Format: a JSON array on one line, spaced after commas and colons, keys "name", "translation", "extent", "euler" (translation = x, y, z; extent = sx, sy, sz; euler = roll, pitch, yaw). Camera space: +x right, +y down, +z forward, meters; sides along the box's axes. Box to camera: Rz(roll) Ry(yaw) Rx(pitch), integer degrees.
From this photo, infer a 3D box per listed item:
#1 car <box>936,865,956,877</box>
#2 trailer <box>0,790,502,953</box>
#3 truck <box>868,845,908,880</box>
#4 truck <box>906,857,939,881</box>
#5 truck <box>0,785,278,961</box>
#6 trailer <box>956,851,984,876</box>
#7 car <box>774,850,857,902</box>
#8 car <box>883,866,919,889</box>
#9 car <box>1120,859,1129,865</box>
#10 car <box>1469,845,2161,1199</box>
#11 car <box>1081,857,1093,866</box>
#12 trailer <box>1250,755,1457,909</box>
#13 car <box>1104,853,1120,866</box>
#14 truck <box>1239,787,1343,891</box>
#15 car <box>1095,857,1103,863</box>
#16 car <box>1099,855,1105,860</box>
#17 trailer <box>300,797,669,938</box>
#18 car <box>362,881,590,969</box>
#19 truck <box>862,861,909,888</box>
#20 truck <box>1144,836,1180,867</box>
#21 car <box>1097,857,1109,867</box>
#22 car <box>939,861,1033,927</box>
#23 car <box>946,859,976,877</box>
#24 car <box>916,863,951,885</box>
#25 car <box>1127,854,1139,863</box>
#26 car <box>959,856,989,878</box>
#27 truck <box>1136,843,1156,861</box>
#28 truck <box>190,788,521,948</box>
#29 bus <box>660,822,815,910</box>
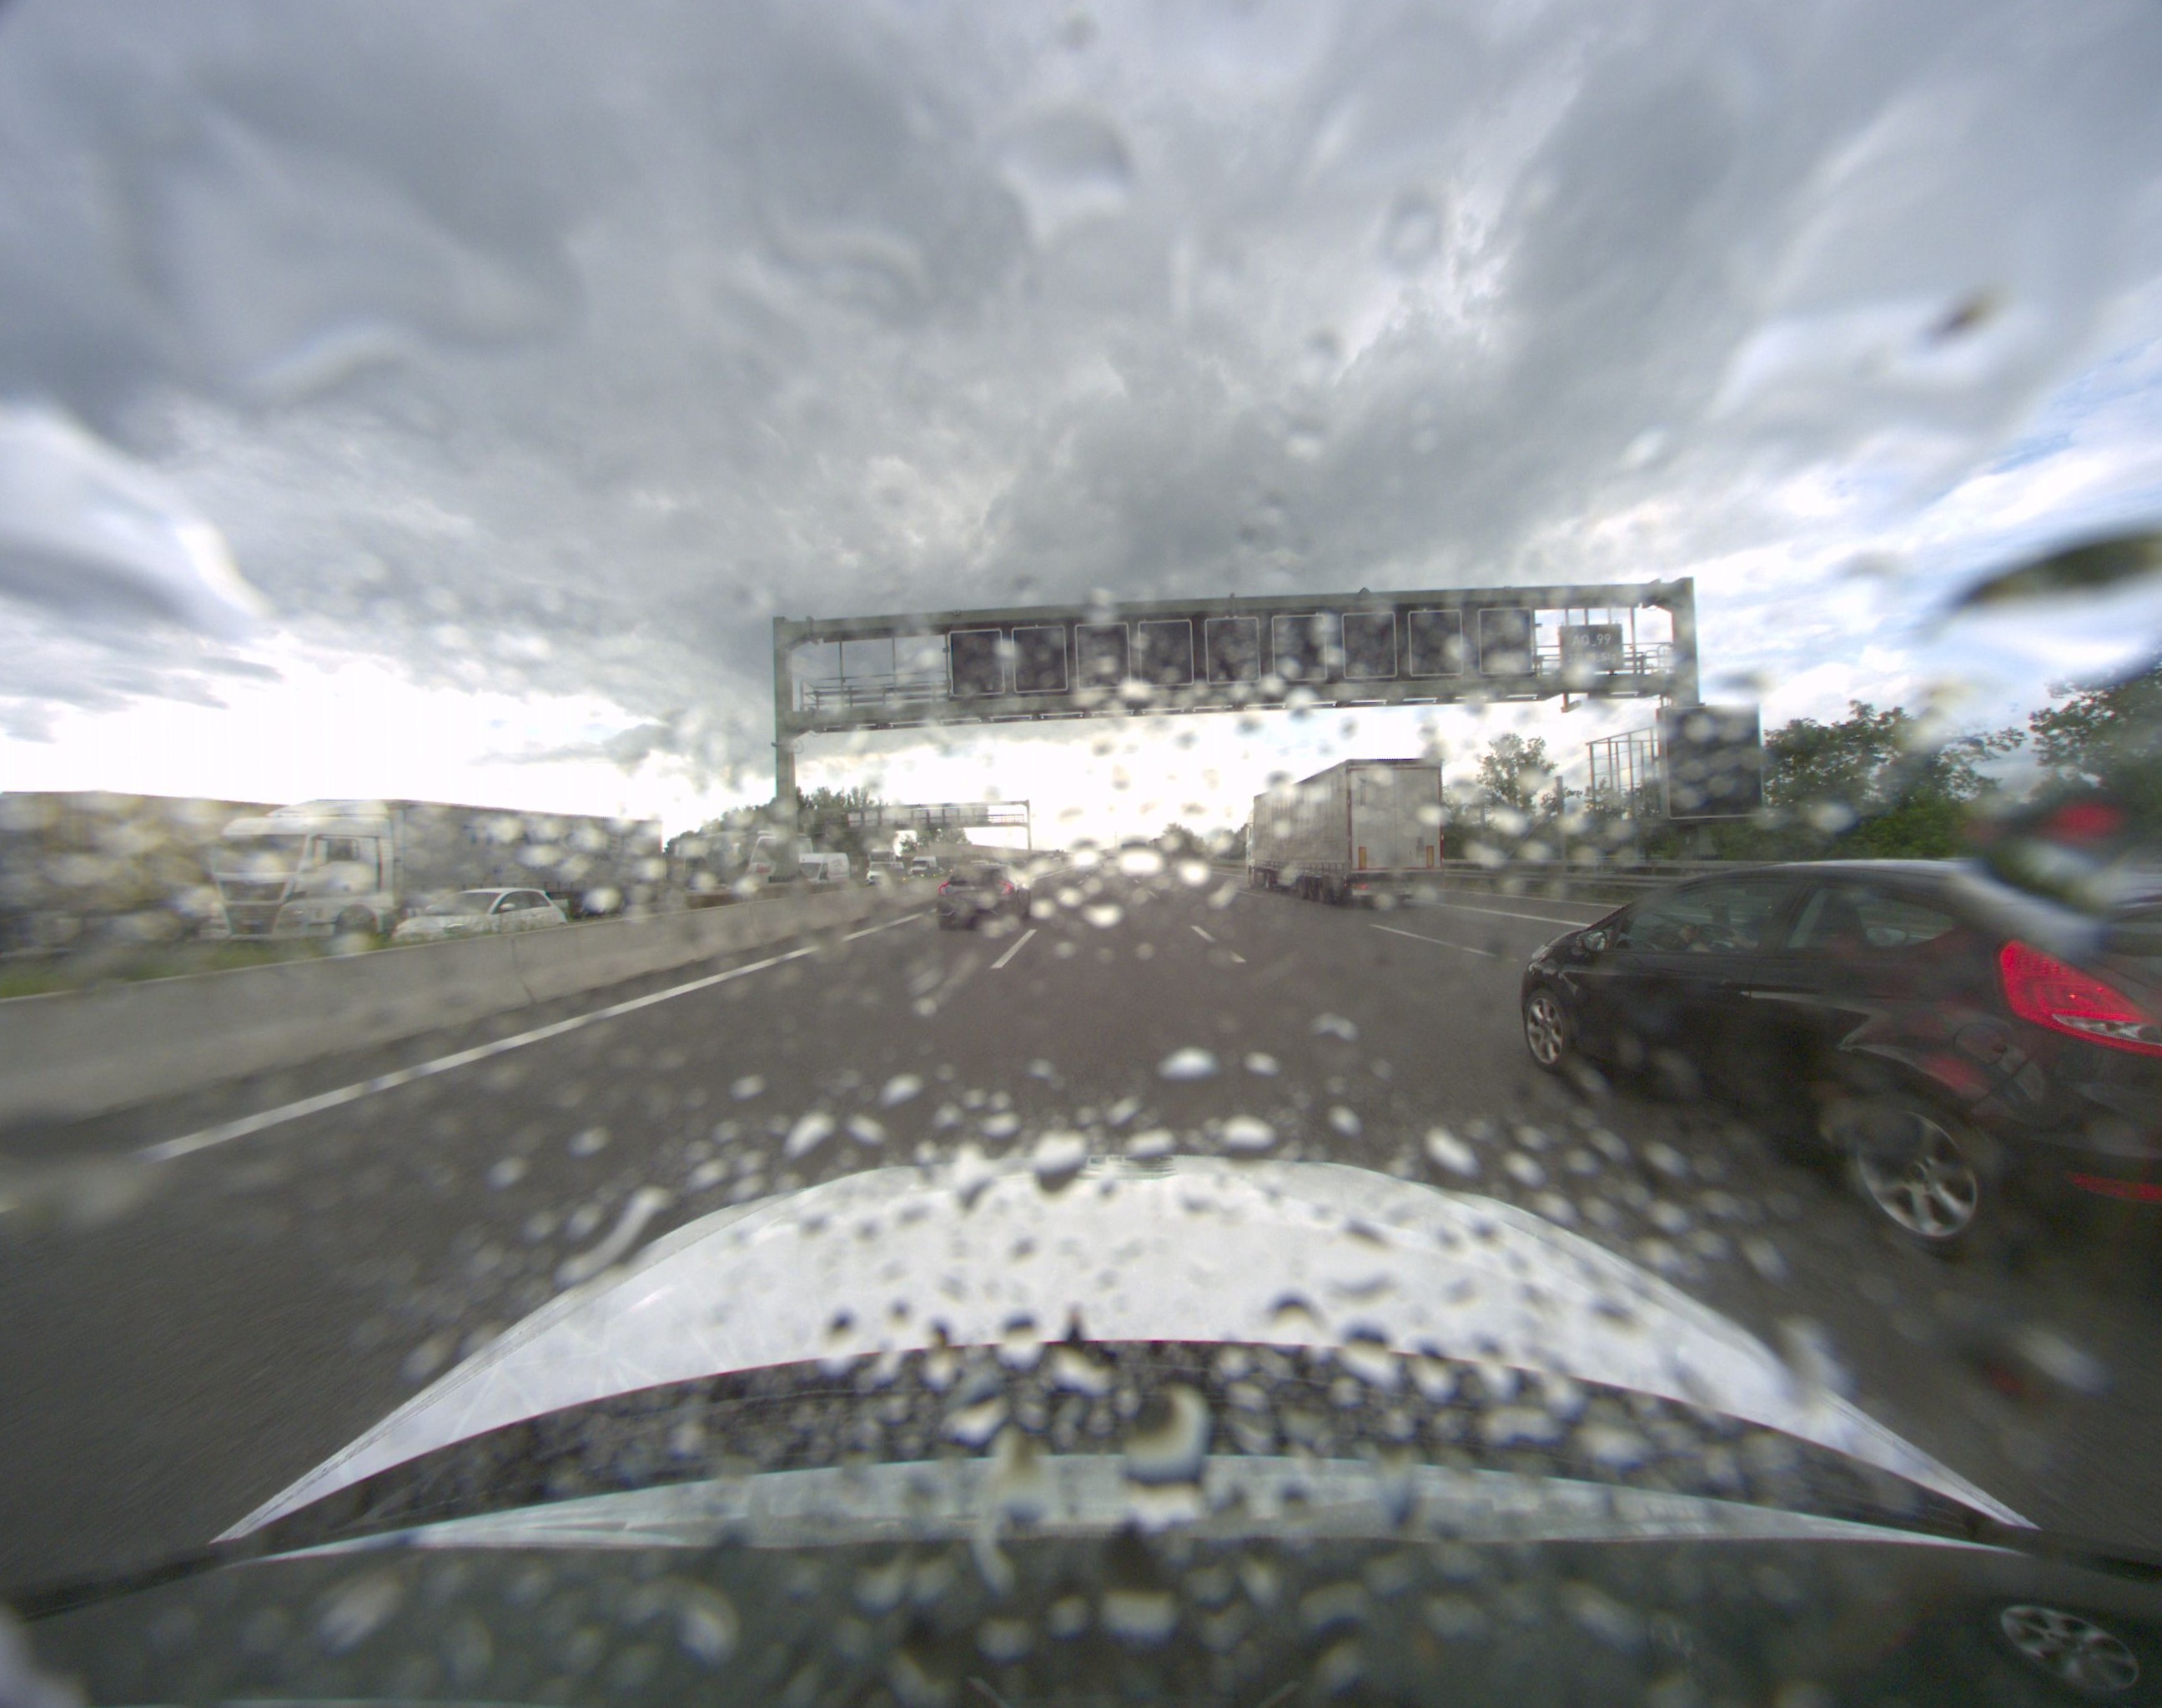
[{"name": "car", "translation": [-18.170, 2.283, 109.845], "extent": [1.809, 1.495, 3.902], "euler": [-2, -1, 2]}, {"name": "trailer", "translation": [-25.242, 0.487, 26.483], "extent": [3.017, 3.933, 12.981], "euler": [-2, -1, 2]}, {"name": "truck", "translation": [-22.216, 0.965, 94.073], "extent": [2.742, 3.887, 6.054], "euler": [-2, 0, 2]}, {"name": "truck", "translation": [-18.425, 1.689, 94.841], "extent": [2.235, 2.604, 6.562], "euler": [-2, -1, 2]}, {"name": "truck", "translation": [-25.510, 0.485, 20.334], "extent": [3.017, 3.933, 7.714], "euler": [-2, -1, 2]}, {"name": "trailer", "translation": [-14.588, 1.184, 107.368], "extent": [2.440, 3.138, 6.054], "euler": [-2, 0, 2]}, {"name": "car", "translation": [-12.854, 1.014, 39.826], "extent": [2.129, 2.351, 5.710], "euler": [0, 0, 0]}, {"name": "car", "translation": [-12.100, 1.556, 54.990], "extent": [1.608, 1.388, 3.328], "euler": [-1, 0, 0]}, {"name": "car", "translation": [10.302, 1.842, 193.338], "extent": [1.829, 1.441, 4.056], "euler": [-1, 0, 1]}, {"name": "car", "translation": [3.835, 0.702, 4.972], "extent": [1.442, 1.441, 3.164], "euler": [-1, 0, 1]}, {"name": "car", "translation": [0.944, 1.146, 126.442], "extent": [1.767, 1.441, 3.873], "euler": [-1, 0, 0]}, {"name": "trailer", "translation": [8.674, -0.586, 28.580], "extent": [2.950, 4.020, 14.125], "euler": [-1, 0, 2]}, {"name": "car", "translation": [3.766, 0.630, 98.385], "extent": [1.767, 1.441, 4.054], "euler": [-1, 0, 0]}, {"name": "truck", "translation": [8.868, -0.589, 35.230], "extent": [2.950, 4.020, 6.591], "euler": [-1, 0, 2]}, {"name": "car", "translation": [4.600, 1.425, 206.670], "extent": [1.767, 1.441, 4.054], "euler": [-1, 0, -1]}, {"name": "car", "translation": [6.736, 1.064, 260.284], "extent": [1.766, 1.441, 4.056], "euler": [-1, 0, 1]}, {"name": "trailer", "translation": [-20.510, 0.402, 30.212], "extent": [2.875, 3.961, 14.303], "euler": [0, 0, 1]}, {"name": "car", "translation": [-13.055, 1.449, 17.984], "extent": [1.730, 1.539, 4.377], "euler": [0, 0, 0]}, {"name": "truck", "translation": [-15.631, 1.602, 65.458], "extent": [2.235, 2.000, 5.546], "euler": [-2, -1, 1]}, {"name": "truck", "translation": [11.617, -0.336, 118.380], "extent": [4.166, 4.288, 12.613], "euler": [0, 0, 1]}, {"name": "car", "translation": [3.449, 1.179, 126.839], "extent": [1.767, 1.441, 4.054], "euler": [-1, 0, 0]}, {"name": "car", "translation": [-2.238, 0.908, 20.455], "extent": [1.755, 1.369, 5.059], "euler": [-1, 0, 0]}, {"name": "car", "translation": [-14.836, 1.707, 101.221], "extent": [2.440, 2.051, 6.197], "euler": [-2, 0, 2]}, {"name": "car", "translation": [-14.883, 1.993, 82.622], "extent": [2.235, 2.114, 5.544], "euler": [-2, -1, 2]}, {"name": "car", "translation": [8.587, 0.667, 135.176], "extent": [1.829, 1.441, 4.056], "euler": [-1, 0, 1]}, {"name": "car", "translation": [-11.506, 1.393, 87.865], "extent": [2.221, 2.237, 5.516], "euler": [-2, -1, 2]}, {"name": "truck", "translation": [15.704, -0.413, 198.611], "extent": [4.228, 4.176, 11.993], "euler": [0, 0, 1]}, {"name": "truck", "translation": [-20.680, 0.359, 24.064], "extent": [2.875, 3.961, 7.538], "euler": [0, 0, 1]}, {"name": "bus", "translation": [-16.451, 0.537, 40.207], "extent": [2.643, 3.679, 10.640], "euler": [-2, -1, 2]}]
